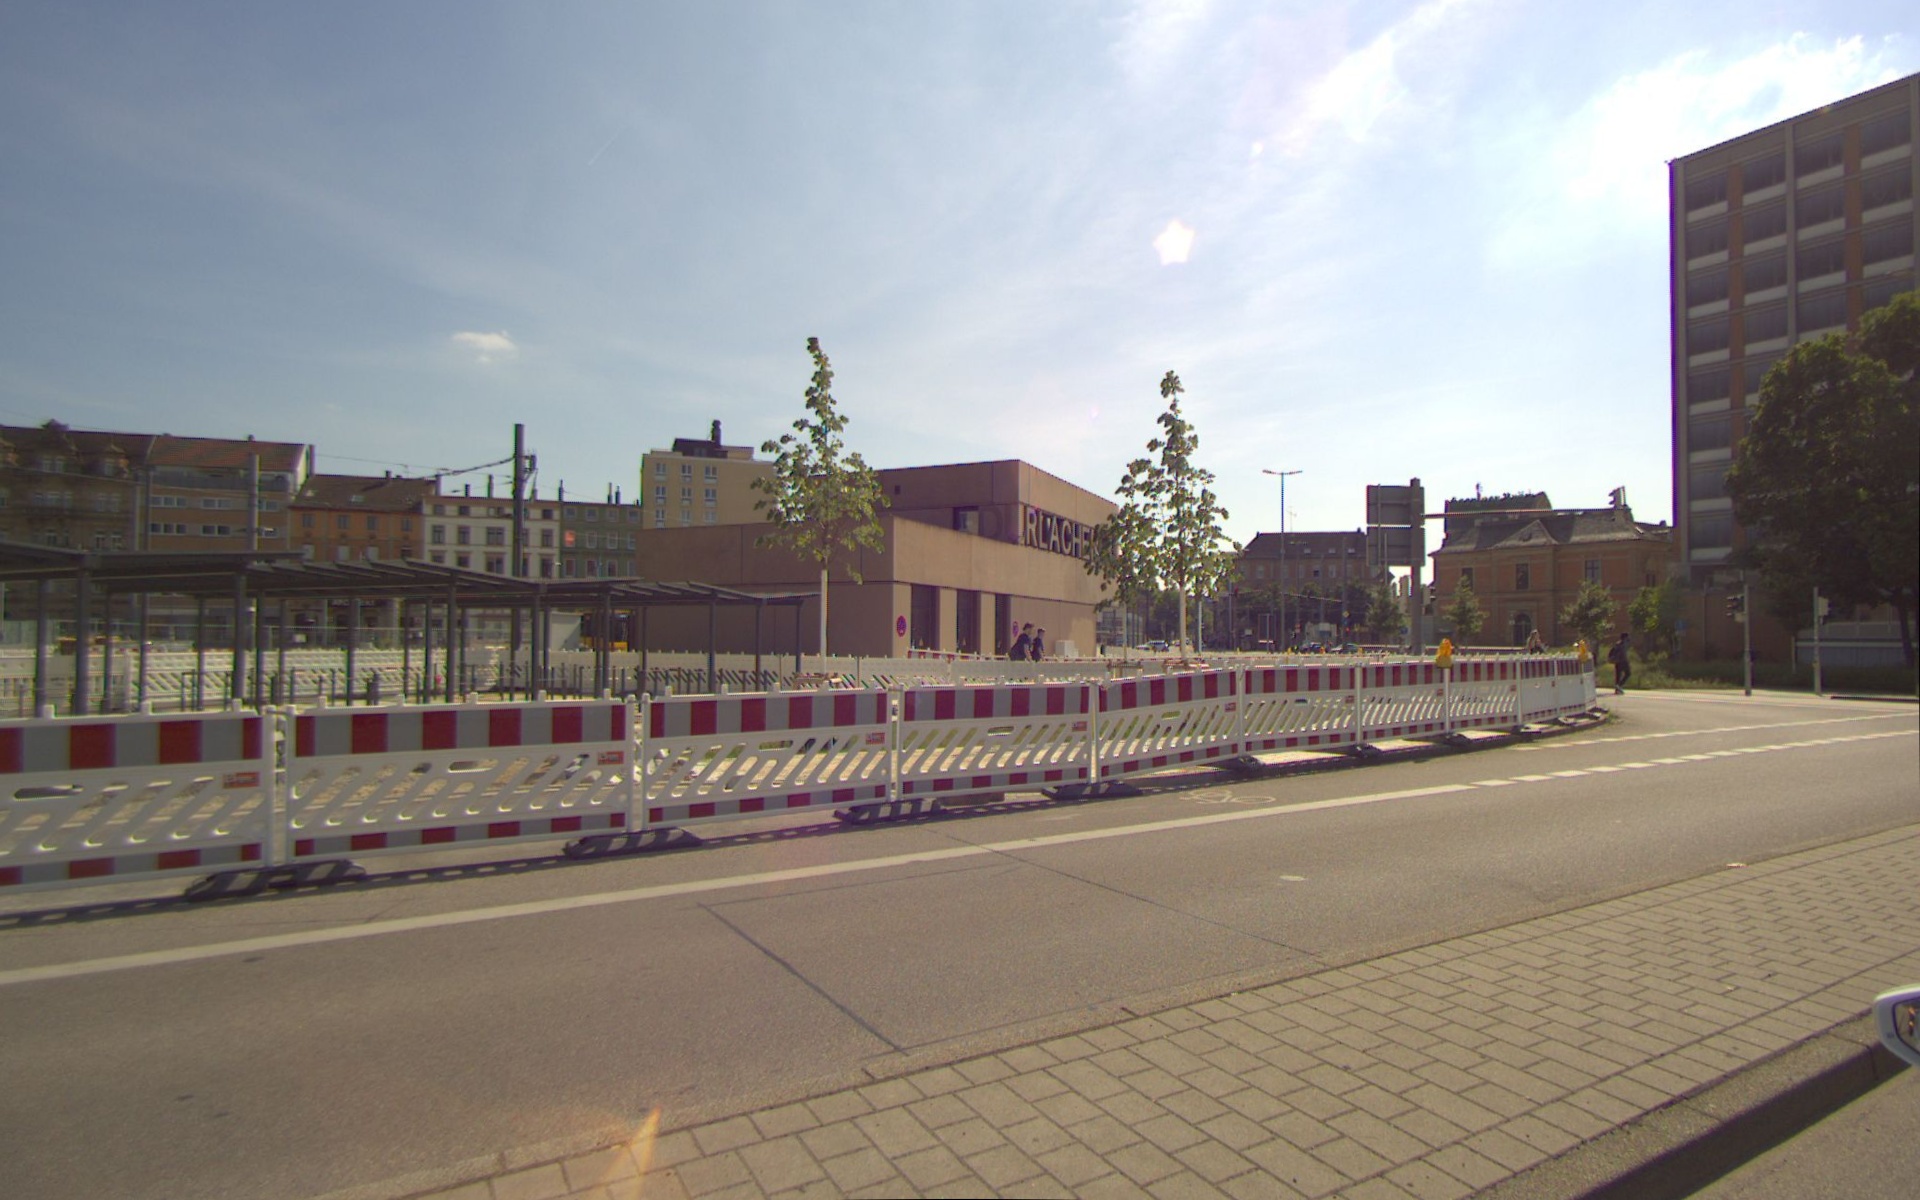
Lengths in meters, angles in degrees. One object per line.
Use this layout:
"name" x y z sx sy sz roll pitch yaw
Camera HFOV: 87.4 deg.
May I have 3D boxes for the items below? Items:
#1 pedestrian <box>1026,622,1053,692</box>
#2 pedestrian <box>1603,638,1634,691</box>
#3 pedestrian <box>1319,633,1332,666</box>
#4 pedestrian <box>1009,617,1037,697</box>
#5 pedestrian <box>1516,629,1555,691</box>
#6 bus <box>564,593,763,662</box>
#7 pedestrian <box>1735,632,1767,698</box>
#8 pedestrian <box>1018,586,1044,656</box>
"pedestrian" 1.989 1.425 25.240 0.559 1.731 0.539 0 -2 -9
"pedestrian" 18.903 1.848 28.848 0.624 1.511 0.613 -2 -3 44
"pedestrian" 23.204 3.146 63.803 0.514 2.040 0.626 1 -2 -15
"pedestrian" 1.534 1.401 24.603 0.595 1.940 0.441 0 -2 -9
"pedestrian" 16.981 1.784 29.640 0.728 1.775 1.104 -2 -5 44
"bus" -15.743 1.588 55.040 2.808 3.324 12.650 -1 -2 25
"pedestrian" 25.103 2.042 31.878 0.604 2.040 0.687 2 -1 23
"pedestrian" 1.835 0.545 25.854 0.559 1.801 0.544 0 -2 -9
